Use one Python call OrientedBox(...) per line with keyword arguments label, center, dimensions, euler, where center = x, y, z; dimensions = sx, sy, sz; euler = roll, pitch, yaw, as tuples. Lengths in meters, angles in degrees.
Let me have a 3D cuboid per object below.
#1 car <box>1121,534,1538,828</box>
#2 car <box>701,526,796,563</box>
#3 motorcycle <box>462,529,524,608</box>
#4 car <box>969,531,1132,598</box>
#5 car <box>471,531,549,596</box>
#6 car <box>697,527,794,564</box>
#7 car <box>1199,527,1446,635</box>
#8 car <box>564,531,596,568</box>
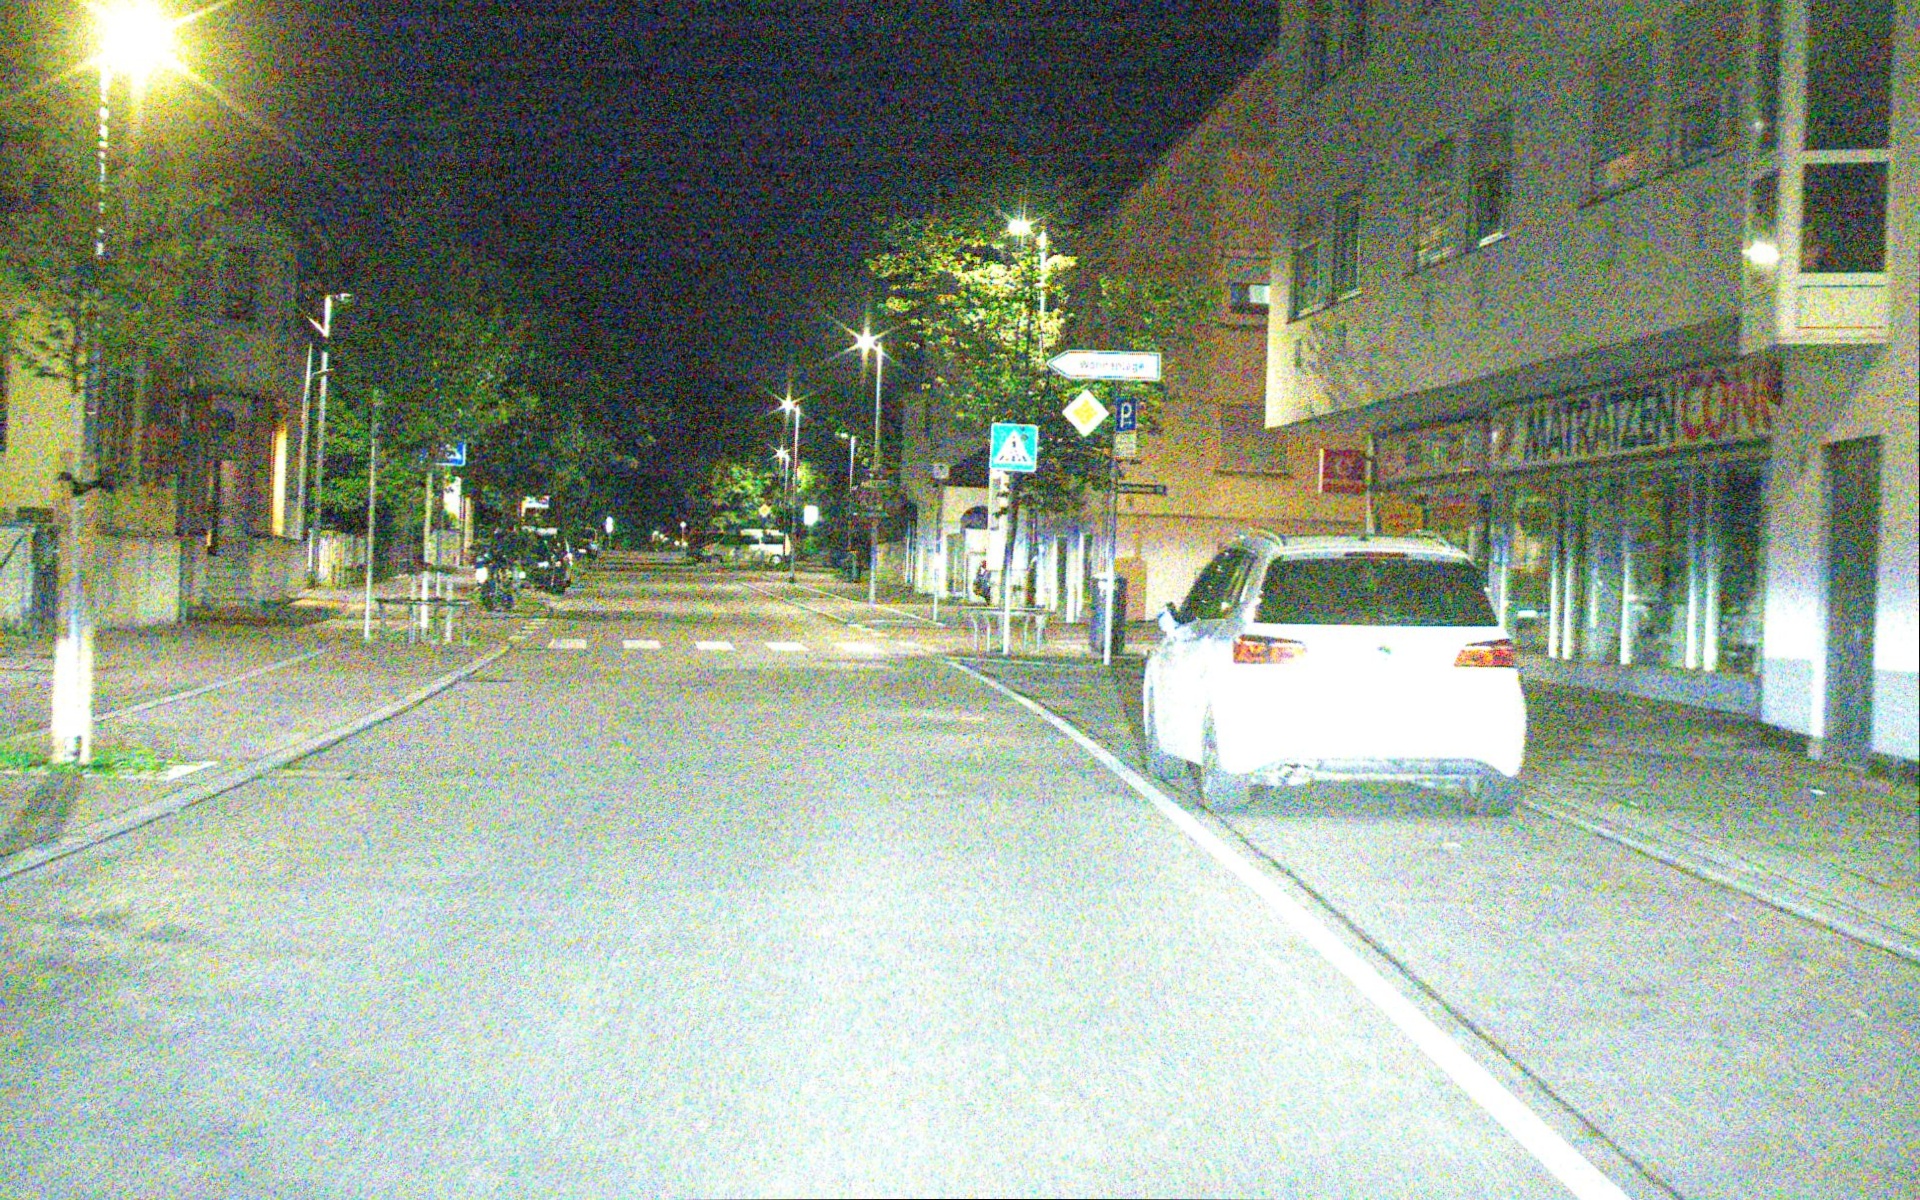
OrientedBox(label="car", center=(2.080, 0.397, 20.512), dimensions=(1.742, 1.563, 4.209), euler=(0, 1, -4))
OrientedBox(label="car", center=(-11.856, -3.103, 192.433), dimensions=(5.181, 2.007, 2.102), euler=(0, 1, -7))
OrientedBox(label="motorcycle", center=(-8.767, -0.604, 64.638), dimensions=(0.746, 1.447, 2.195), euler=(1, 1, 3))
OrientedBox(label="car", center=(2.119, -0.839, 81.295), dimensions=(3.711, 1.468, 1.731), euler=(1, 1, -3))
OrientedBox(label="car", center=(-10.937, -0.911, 83.740), dimensions=(1.687, 1.505, 4.279), euler=(1, 1, -5))
OrientedBox(label="car", center=(-11.820, -3.023, 189.359), dimensions=(5.181, 2.007, 2.102), euler=(0, 1, -7))
OrientedBox(label="car", center=(5.673, -0.312, 54.039), dimensions=(3.505, 1.519, 1.821), euler=(-2, 1, -6))
OrientedBox(label="car", center=(-23.487, -3.094, 212.423), dimensions=(1.824, 1.980, 4.466), euler=(3, -2, -7))
